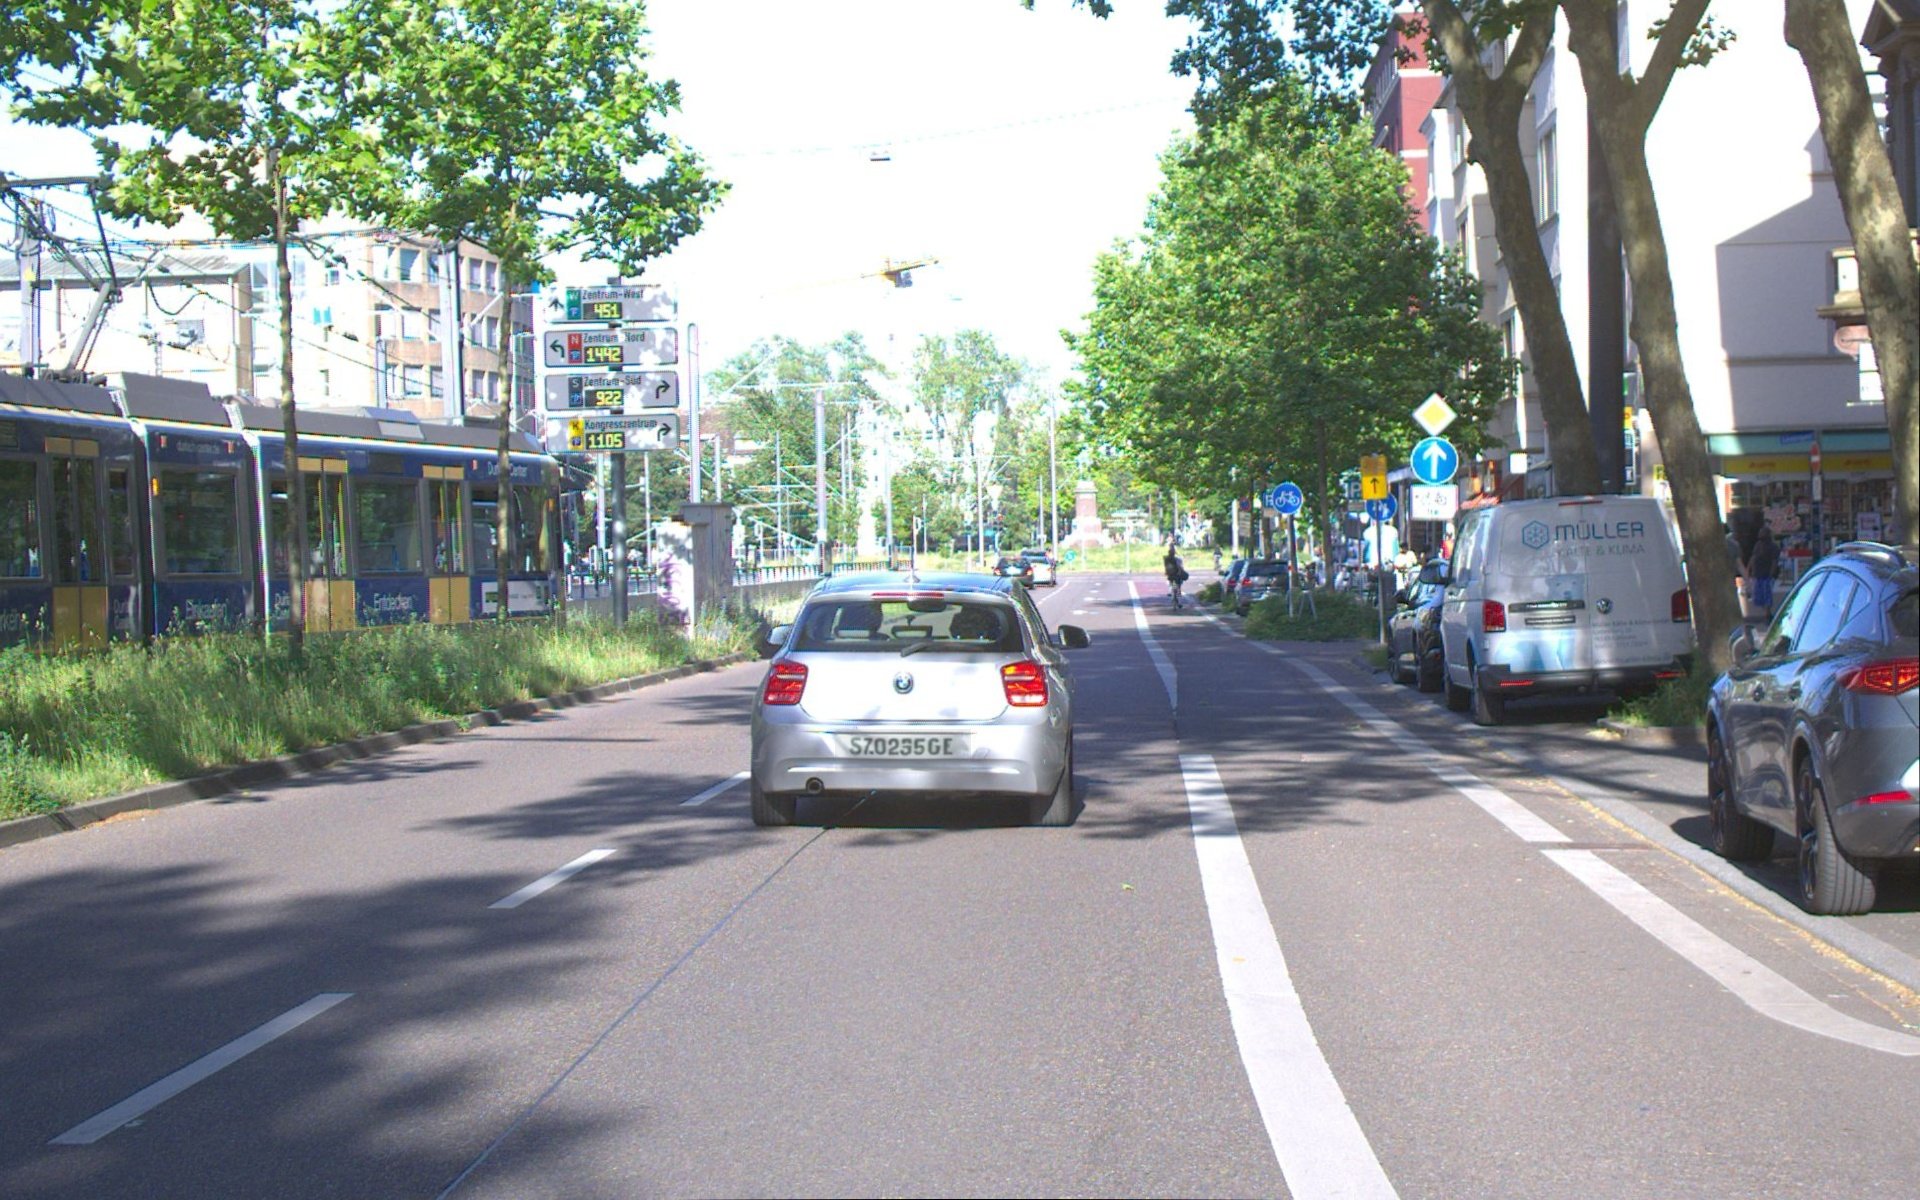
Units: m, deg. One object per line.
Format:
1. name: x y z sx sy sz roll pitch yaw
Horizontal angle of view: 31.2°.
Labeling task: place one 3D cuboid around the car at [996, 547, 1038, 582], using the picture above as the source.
1. car: 2.421 -1.512 146.414 1.726 1.465 4.410 0 1 0

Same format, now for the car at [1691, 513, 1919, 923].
1. car: 4.399 0.435 15.249 1.668 1.565 4.279 1 1 4

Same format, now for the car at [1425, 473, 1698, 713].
1. car: 5.422 -0.087 31.513 1.856 2.007 4.723 1 1 3

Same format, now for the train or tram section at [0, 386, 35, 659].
1. train or tram section: -13.861 -0.821 34.670 2.963 3.472 21.218 0 1 1

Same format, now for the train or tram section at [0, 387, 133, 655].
1. train or tram section: -13.675 -1.084 47.518 2.956 3.472 6.060 0 1 1

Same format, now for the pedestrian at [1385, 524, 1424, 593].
1. pedestrian: 11.077 -1.037 85.704 0.859 1.699 0.917 -1 1 1

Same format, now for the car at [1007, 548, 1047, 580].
1. car: 3.020 -1.633 154.459 1.644 1.416 4.000 0 1 3

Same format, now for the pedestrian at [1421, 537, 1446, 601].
1. pedestrian: 12.670 -0.834 91.983 0.558 1.705 0.770 -1 1 3

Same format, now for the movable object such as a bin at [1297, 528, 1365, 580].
1. movable object such as a bin: 13.688 -1.712 126.876 1.945 1.837 3.481 -1 2 -3

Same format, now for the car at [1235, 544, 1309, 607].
1. car: 8.160 -0.652 90.142 1.695 1.497 3.801 -3 1 3

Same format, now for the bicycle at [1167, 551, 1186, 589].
1. bicycle: 6.218 -0.871 98.700 0.499 1.085 1.997 1 1 3

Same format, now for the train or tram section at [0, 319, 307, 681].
1. train or tram section: -9.507 -1.114 39.116 2.956 3.883 3.864 1 1 8

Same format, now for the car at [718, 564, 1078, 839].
1. car: -0.265 0.518 20.223 1.798 1.410 4.000 -1 1 3

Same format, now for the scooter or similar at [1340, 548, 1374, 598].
1. scooter or similar: 9.649 -0.657 83.472 0.379 1.192 1.573 -1 1 23

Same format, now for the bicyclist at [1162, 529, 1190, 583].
1. bicyclist: 6.210 -1.260 98.811 0.785 1.526 0.895 1 1 3

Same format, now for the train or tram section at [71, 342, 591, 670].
1. train or tram section: -8.091 -1.189 46.269 2.954 3.883 10.797 1 1 12

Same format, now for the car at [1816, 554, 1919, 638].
1. car: 17.417 -0.084 61.452 3.940 1.469 1.665 0 1 7

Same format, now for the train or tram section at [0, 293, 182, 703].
1. train or tram section: -10.523 -0.939 30.144 2.929 3.799 14.271 1 1 5

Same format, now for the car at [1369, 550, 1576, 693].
1. car: 5.777 0.204 39.248 1.818 1.510 4.708 1 1 2

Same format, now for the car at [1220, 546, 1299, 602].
1. car: 8.497 -0.764 97.843 2.038 1.504 4.593 -1 1 3

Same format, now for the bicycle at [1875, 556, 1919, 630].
1. bicycle: 13.002 -0.105 47.272 0.414 0.994 1.882 0 1 2
